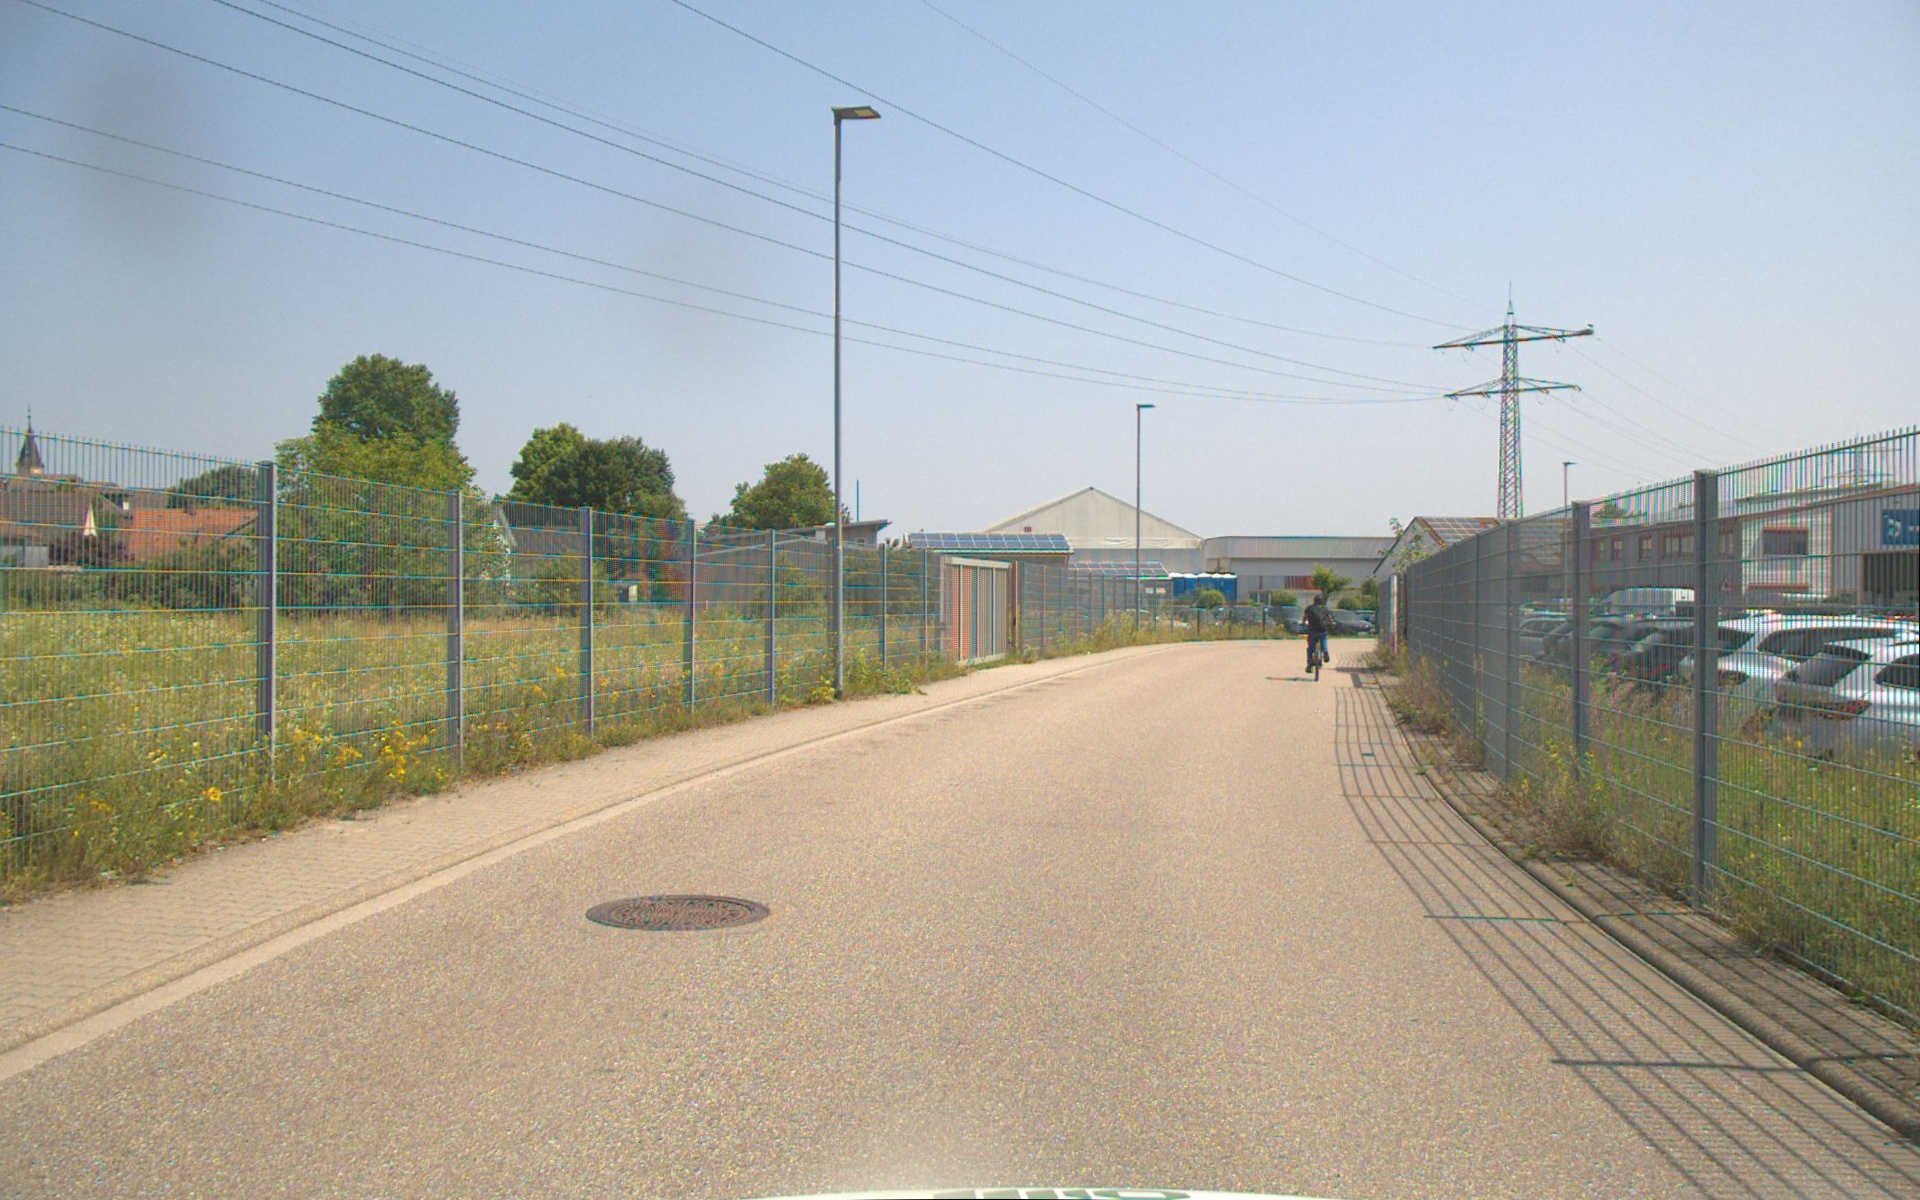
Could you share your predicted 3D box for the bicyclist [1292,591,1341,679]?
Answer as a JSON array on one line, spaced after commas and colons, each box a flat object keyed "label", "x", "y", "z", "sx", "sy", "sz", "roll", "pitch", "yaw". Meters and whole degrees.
[{"label": "bicyclist", "x": 6.904, "y": 0.660, "z": 31.989, "sx": 0.824, "sy": 1.646, "sz": 1.040, "roll": 1, "pitch": 1, "yaw": 16}]

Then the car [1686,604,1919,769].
[{"label": "car", "x": 9.443, "y": 0.868, "z": 16.060, "sx": 4.122, "sy": 1.430, "sz": 1.839, "roll": 3, "pitch": 0, "yaw": 17}]

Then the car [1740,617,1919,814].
[{"label": "car", "x": 8.700, "y": 0.973, "z": 13.170, "sx": 4.121, "sy": 1.430, "sz": 1.840, "roll": 3, "pitch": 0, "yaw": 10}]

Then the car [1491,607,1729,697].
[{"label": "car", "x": 12.794, "y": 0.999, "z": 32.774, "sx": 4.075, "sy": 1.499, "sz": 1.639, "roll": 3, "pitch": 0, "yaw": 9}]

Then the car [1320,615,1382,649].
[{"label": "car", "x": 19.293, "y": 1.566, "z": 81.669, "sx": 1.827, "sy": 1.581, "sz": 3.765, "roll": 0, "pitch": 0, "yaw": -6}]

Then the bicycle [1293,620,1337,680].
[{"label": "bicycle", "x": 6.888, "y": 0.950, "z": 32.038, "sx": 0.670, "sy": 1.070, "sz": 1.902, "roll": 1, "pitch": 0, "yaw": 16}]

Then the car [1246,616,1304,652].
[{"label": "car", "x": 15.608, "y": 1.672, "z": 82.129, "sx": 1.827, "sy": 1.672, "sz": 3.629, "roll": 0, "pitch": 0, "yaw": -6}]
